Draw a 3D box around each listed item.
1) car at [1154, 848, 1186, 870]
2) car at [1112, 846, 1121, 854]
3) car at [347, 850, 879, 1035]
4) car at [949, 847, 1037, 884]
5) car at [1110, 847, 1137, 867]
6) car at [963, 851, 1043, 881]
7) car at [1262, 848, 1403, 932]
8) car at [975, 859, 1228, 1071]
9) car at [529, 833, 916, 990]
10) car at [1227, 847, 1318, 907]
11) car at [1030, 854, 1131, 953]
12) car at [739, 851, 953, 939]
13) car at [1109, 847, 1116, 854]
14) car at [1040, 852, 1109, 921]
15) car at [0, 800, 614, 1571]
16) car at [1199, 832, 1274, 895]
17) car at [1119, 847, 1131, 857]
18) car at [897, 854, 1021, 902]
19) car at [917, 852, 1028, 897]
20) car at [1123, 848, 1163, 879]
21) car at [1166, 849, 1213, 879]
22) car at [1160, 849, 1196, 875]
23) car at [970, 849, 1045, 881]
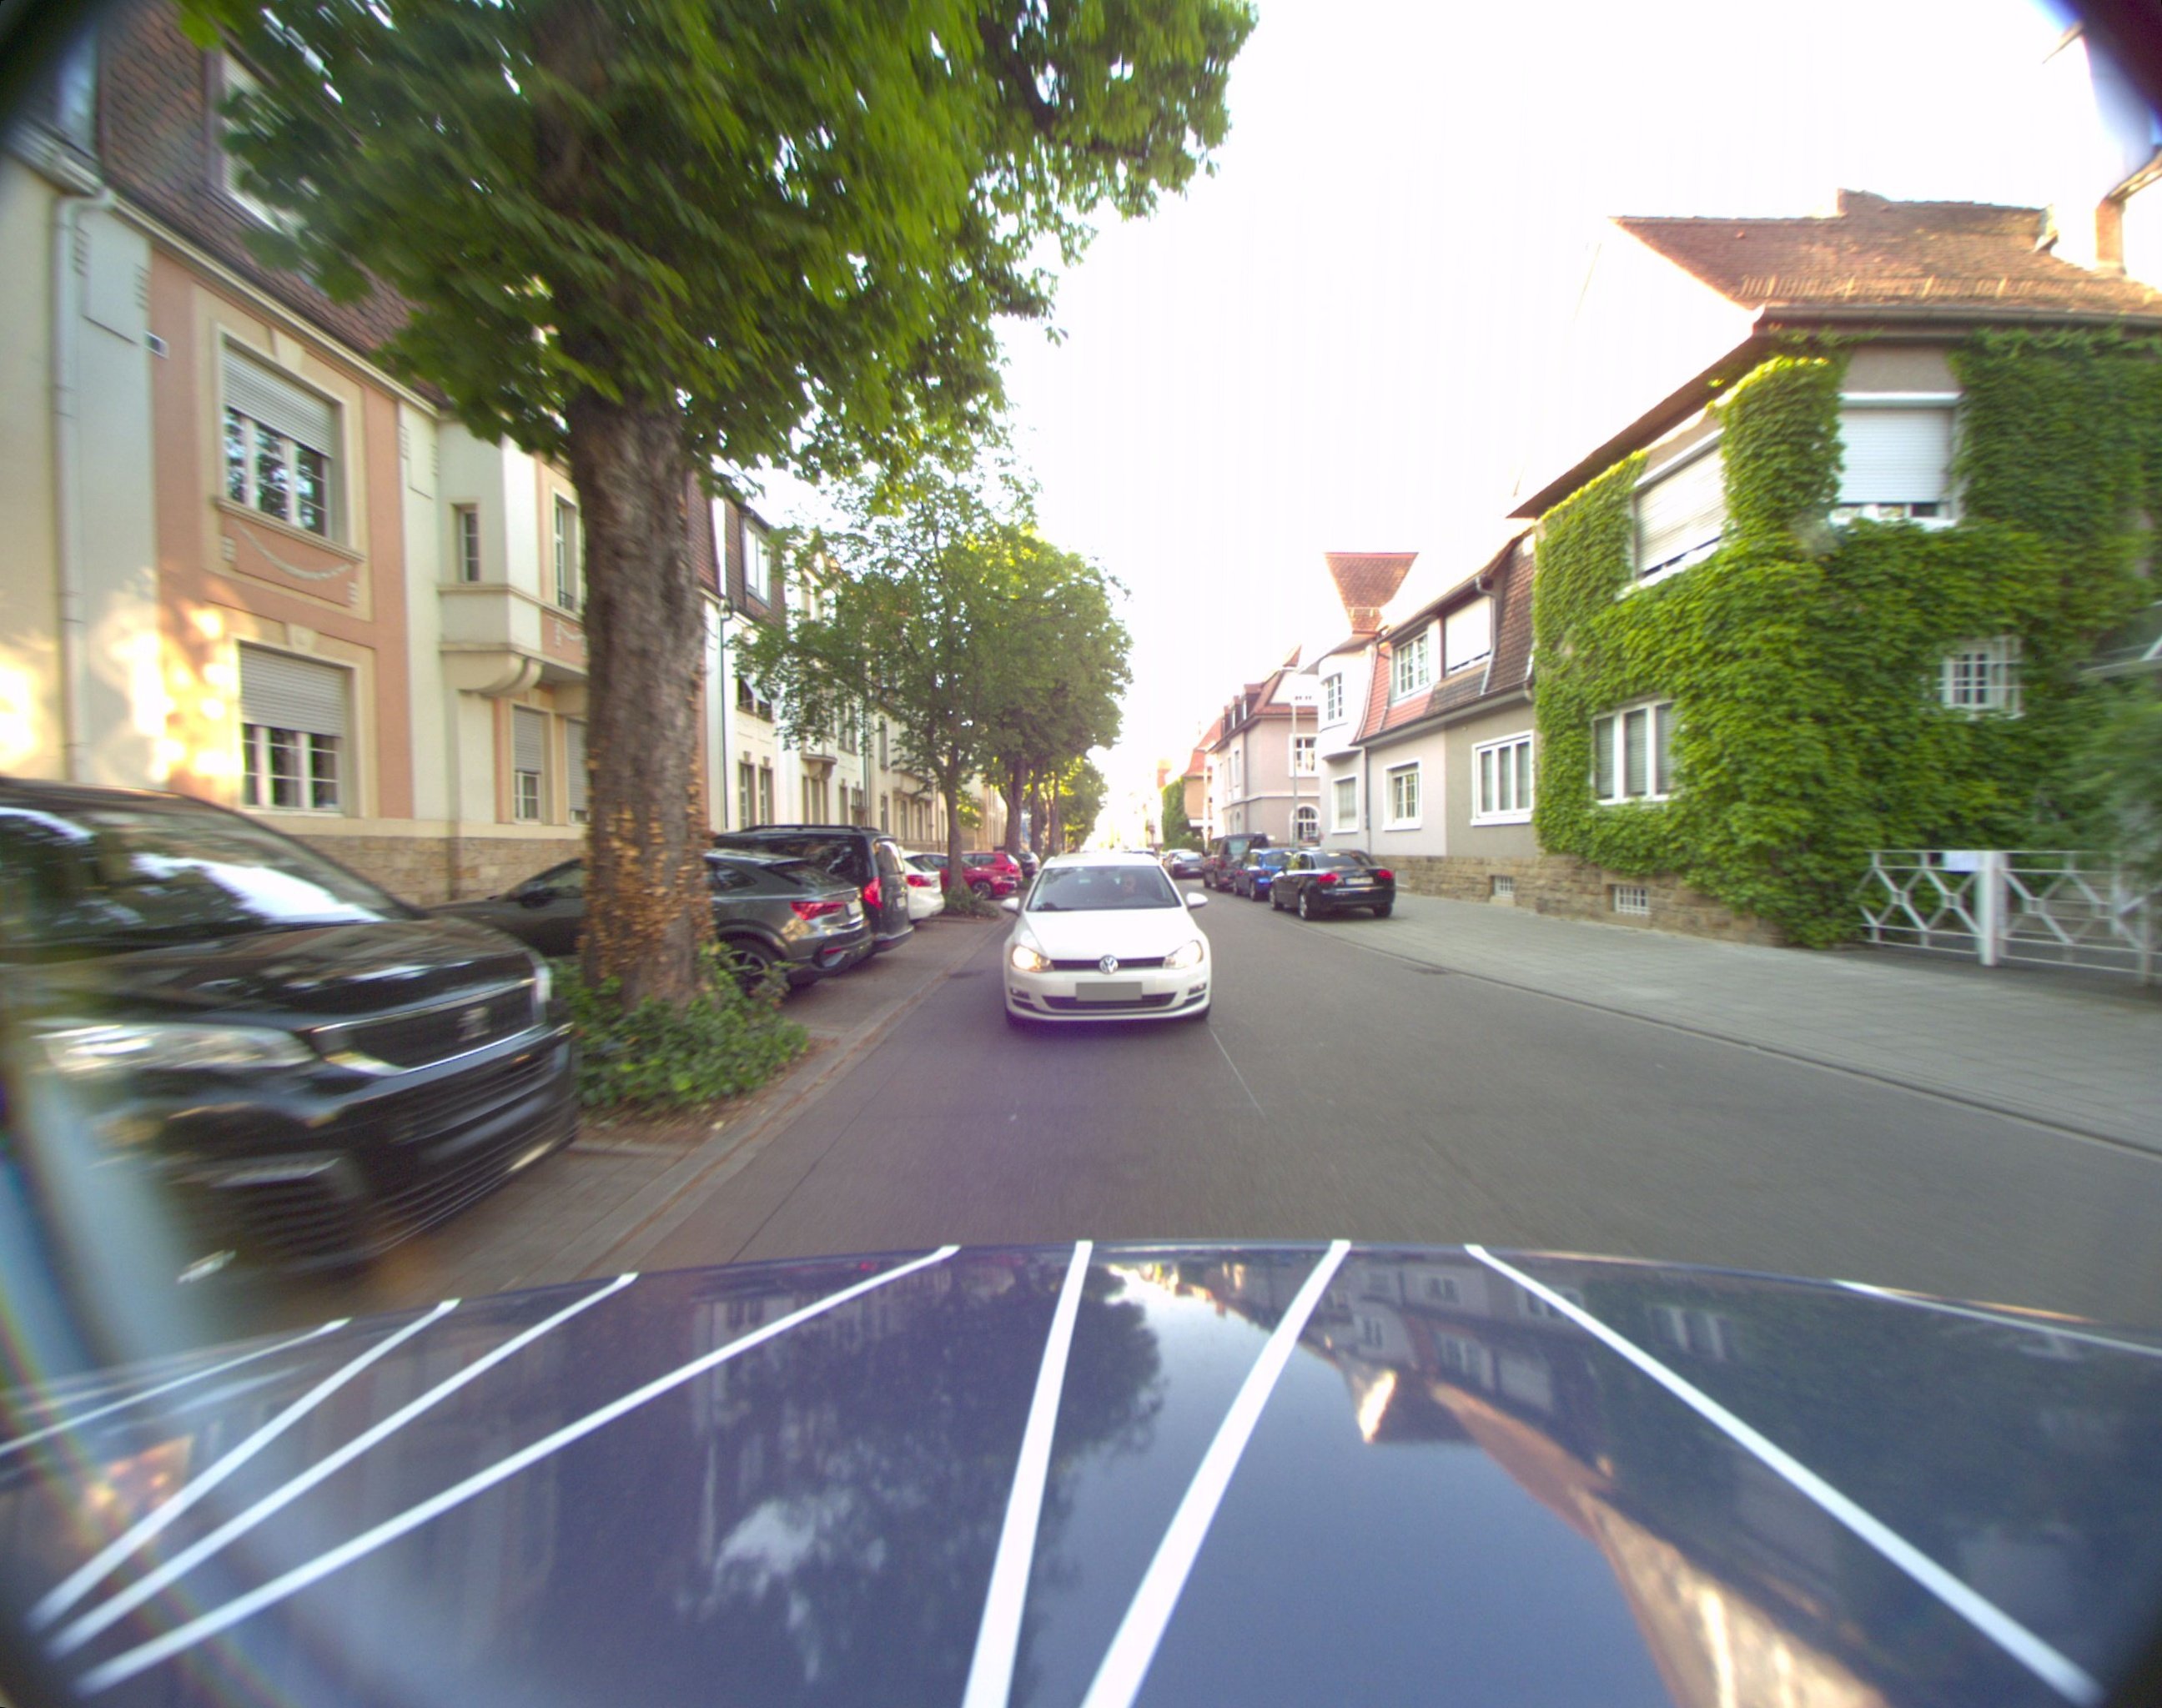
[{"bbox_3d":[6.081,0.347,52.518,1.719,1.363,3.945,-3,1,0],"label":"car"},{"bbox_3d":[7.052,-0.883,151.523,1.643,1.461,3.689,-3,1,1],"label":"car"},{"bbox_3d":[-4.279,0.788,7.476,4.173,1.583,1.594,1,2,-3],"label":"car"},{"bbox_3d":[-3.767,0.490,33.003,3.622,1.555,1.538,0,1,1],"label":"car"},{"bbox_3d":[3.247,0.247,58.722,1.785,1.453,4.299,1,0,0],"label":"car"},{"bbox_3d":[-3.697,0.563,36.196,3.622,1.395,1.538,0,1,1],"label":"car"},{"bbox_3d":[5.252,0.675,16.408,1.751,1.421,4.024,-4,1,2],"label":"car"},{"bbox_3d":[0.134,0.823,7.559,1.799,1.420,4.023,-2,1,-1],"label":"car"},{"bbox_3d":[-4.363,0.674,9.738,4.173,1.816,1.594,1,2,-3],"label":"car"},{"bbox_3d":[5.519,0.587,22.349,1.611,1.455,4.023,-4,1,0],"label":"car"},{"bbox_3d":[0.044,0.800,14.245,1.599,1.546,4.000,1,0,1],"label":"car"},{"bbox_3d":[-4.362,0.745,14.477,3.623,1.541,1.537,1,1,-3],"label":"car"},{"bbox_3d":[7.249,-0.857,175.282,1.643,1.461,3.689,-3,1,1],"label":"car"},{"bbox_3d":[-0.093,0.745,19.335,1.560,1.546,3.738,1,0,1],"label":"car"},{"bbox_3d":[-4.621,0.738,2.582,4.835,1.814,1.880,1,2,-3],"label":"car"},{"bbox_3d":[5.477,0.269,27.225,1.719,1.961,4.310,-4,1,0],"label":"car"},{"bbox_3d":[6.728,-0.325,116.832,1.643,1.461,3.689,-3,1,1],"label":"car"},{"bbox_3d":[-3.764,0.720,23.838,3.622,1.395,1.538,1,1,1],"label":"car"},{"bbox_3d":[-3.718,0.692,26.399,3.622,1.456,1.538,1,1,1],"label":"car"},{"bbox_3d":[3.140,0.468,39.234,1.620,1.493,3.591,1,1,-2],"label":"car"},{"bbox_3d":[5.454,0.470,38.685,1.719,1.363,4.334,-3,1,0],"label":"car"},{"bbox_3d":[5.607,0.446,44.095,1.541,1.363,3.945,-3,1,0],"label":"car"},{"bbox_3d":[-3.727,0.541,38.867,3.622,1.555,1.538,0,1,1],"label":"car"}]
